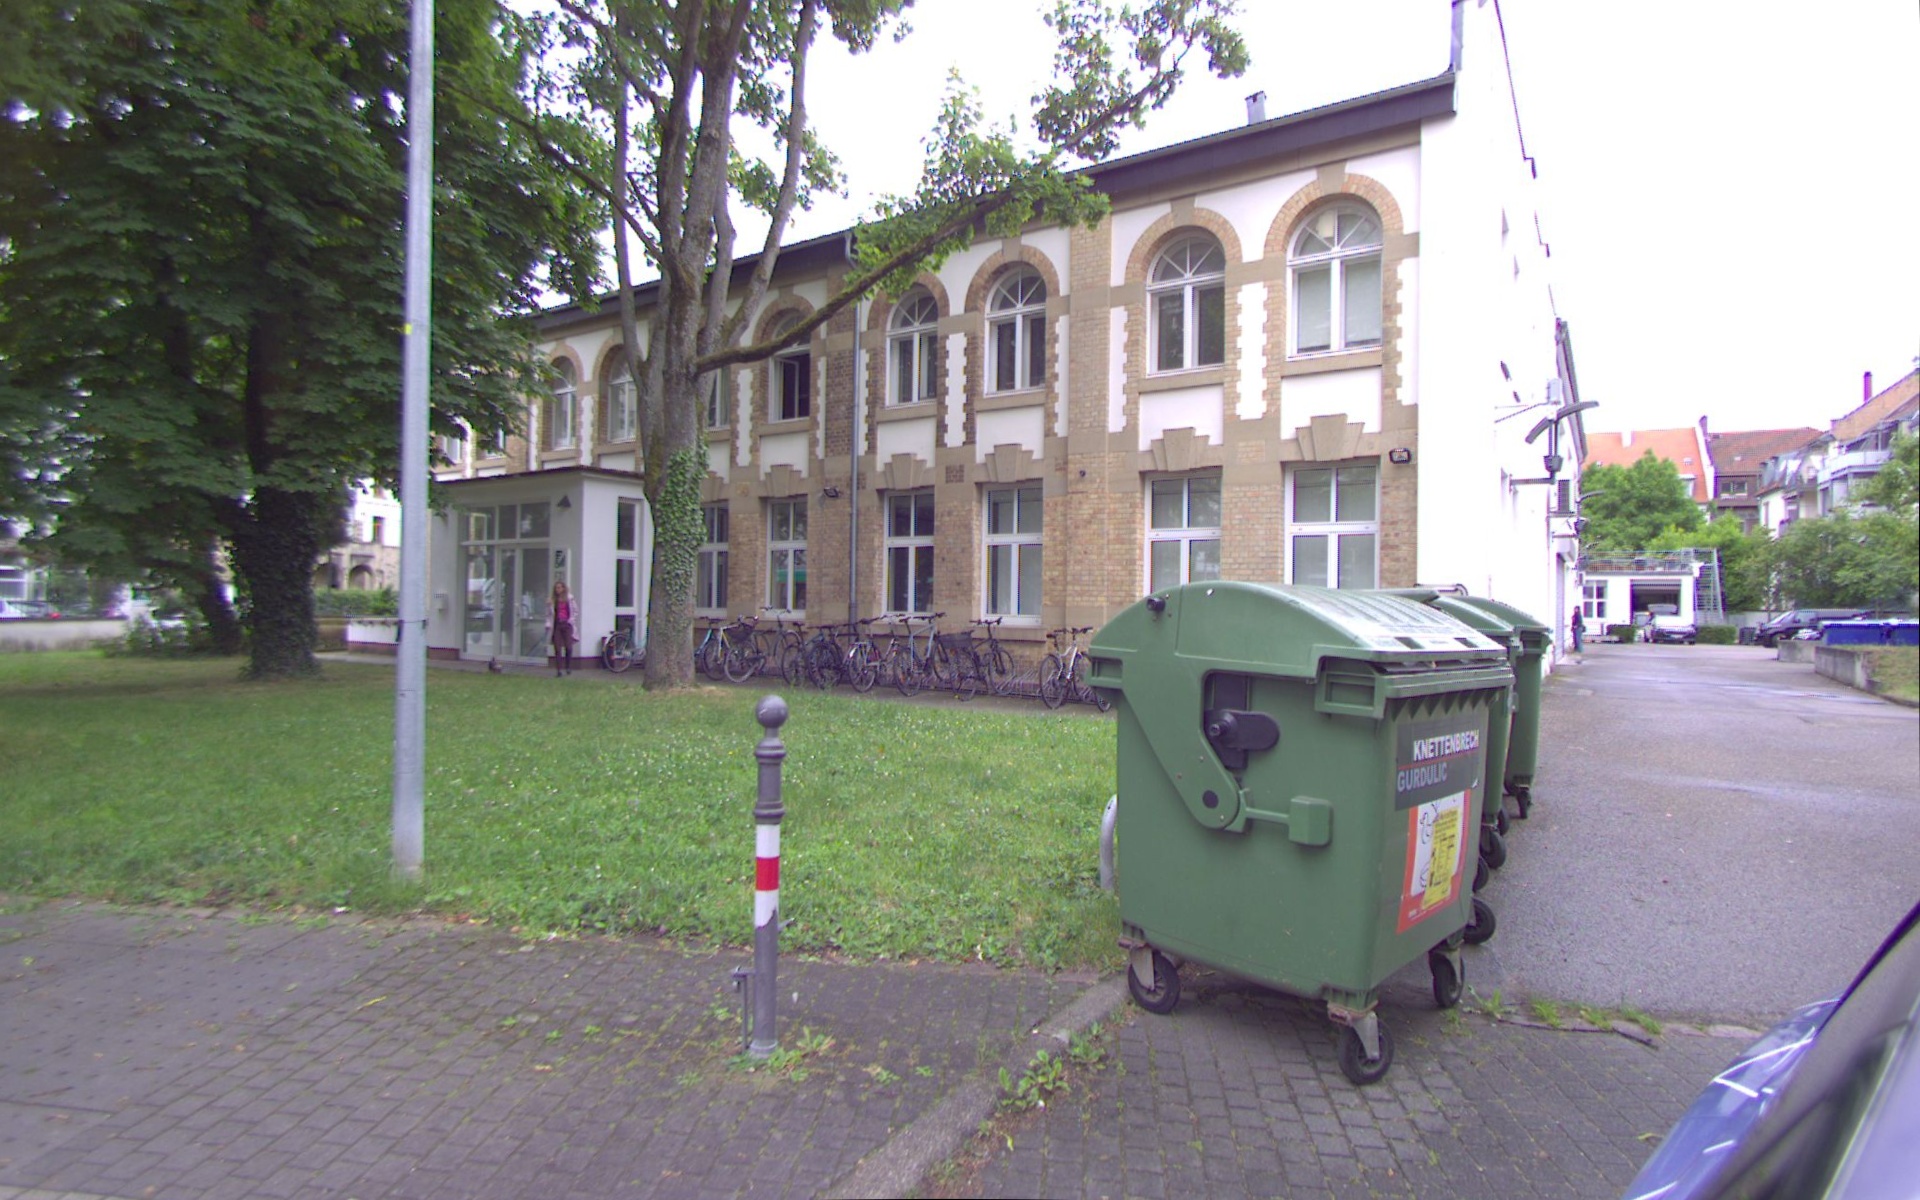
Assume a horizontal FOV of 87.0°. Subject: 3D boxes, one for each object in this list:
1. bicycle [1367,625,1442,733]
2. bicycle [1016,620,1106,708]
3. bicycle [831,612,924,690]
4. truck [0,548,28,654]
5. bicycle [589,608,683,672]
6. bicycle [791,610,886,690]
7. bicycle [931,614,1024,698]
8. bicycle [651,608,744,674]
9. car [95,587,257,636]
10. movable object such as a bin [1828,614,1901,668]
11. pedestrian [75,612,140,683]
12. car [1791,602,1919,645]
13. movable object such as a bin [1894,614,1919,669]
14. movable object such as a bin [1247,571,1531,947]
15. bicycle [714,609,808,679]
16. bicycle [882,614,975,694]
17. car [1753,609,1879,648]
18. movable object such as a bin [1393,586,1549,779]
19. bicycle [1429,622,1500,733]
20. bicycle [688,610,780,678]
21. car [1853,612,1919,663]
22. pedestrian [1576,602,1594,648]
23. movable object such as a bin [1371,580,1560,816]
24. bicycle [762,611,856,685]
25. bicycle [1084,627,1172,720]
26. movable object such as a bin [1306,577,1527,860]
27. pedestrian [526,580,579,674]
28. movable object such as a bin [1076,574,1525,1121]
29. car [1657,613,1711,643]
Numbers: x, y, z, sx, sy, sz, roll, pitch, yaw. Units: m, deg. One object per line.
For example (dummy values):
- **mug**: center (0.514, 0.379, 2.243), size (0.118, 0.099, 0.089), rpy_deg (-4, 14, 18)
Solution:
- **bicycle**: center (5.168, 0.865, 11.715), size (0.458, 1.129, 1.722), rpy_deg (0, 0, 35)
- **bicycle**: center (1.436, 0.851, 14.094), size (0.458, 1.129, 1.722), rpy_deg (0, 0, 35)
- **bicycle**: center (-1.261, 0.766, 15.820), size (0.458, 1.129, 1.722), rpy_deg (0, 0, 35)
- **truck**: center (-24.517, 0.018, 22.874), size (2.132, 2.578, 4.920), rpy_deg (0, 0, 6)
- **bicycle**: center (-6.020, 0.723, 18.892), size (0.458, 1.129, 1.722), rpy_deg (0, 0, 35)
- **bicycle**: center (-1.902, 0.760, 16.116), size (0.458, 1.128, 1.723), rpy_deg (0, 2, 35)
- **bicycle**: center (0.274, 0.782, 14.708), size (0.458, 1.129, 1.722), rpy_deg (0, 0, 35)
- **bicycle**: center (-4.711, 0.711, 18.266), size (0.458, 1.129, 1.722), rpy_deg (0, 0, 35)
- **car**: center (-23.556, 0.319, 30.587), size (1.780, 1.371, 3.806), rpy_deg (0, 0, 5)
- **movable object such as a bin**: center (22.864, 1.022, 25.615), size (1.172, 1.323, 1.213), rpy_deg (0, -1, 32)
- **pedestrian**: center (-21.228, 1.169, 25.218), size (0.793, 1.740, 0.955), rpy_deg (0, -1, 0)
- **car**: center (39.208, 0.973, 44.067), size (4.301, 1.757, 1.980), rpy_deg (1, 0, 28)
- **movable object such as a bin**: center (23.985, 1.028, 24.948), size (1.172, 1.323, 1.213), rpy_deg (0, -1, 32)
- **movable object such as a bin**: center (2.059, 0.623, 4.792), size (1.099, 1.469, 1.273), rpy_deg (0, -1, 29)
- **bicycle**: center (-3.364, 0.728, 17.258), size (0.458, 1.129, 1.722), rpy_deg (0, 0, 35)
- **bicycle**: center (-0.449, 0.783, 15.358), size (0.458, 1.129, 1.722), rpy_deg (0, 0, 35)
- **car**: center (41.479, 1.360, 49.177), size (4.301, 1.757, 1.980), rpy_deg (1, 0, 28)
- **movable object such as a bin**: center (4.315, 0.627, 8.567), size (1.099, 1.469, 1.349), rpy_deg (0, -1, 28)
- **bicycle**: center (5.687, 0.826, 11.374), size (0.458, 1.129, 1.722), rpy_deg (0, 0, 35)
- **bicycle**: center (-3.945, 0.745, 17.801), size (0.458, 1.129, 1.722), rpy_deg (0, 0, 35)
- **car**: center (34.932, 1.360, 36.050), size (4.301, 1.757, 1.980), rpy_deg (1, 0, 28)
- **pedestrian**: center (21.818, 0.875, 35.309), size (0.494, 1.582, 0.425), rpy_deg (0, -1, 29)
- **movable object such as a bin**: center (3.567, 0.611, 7.156), size (1.099, 1.469, 1.313), rpy_deg (0, -1, 28)
- **bicycle**: center (-2.451, 0.759, 16.589), size (0.458, 1.129, 1.722), rpy_deg (0, 0, 35)
- **bicycle**: center (2.291, 0.952, 13.638), size (0.458, 1.129, 1.722), rpy_deg (0, 0, 35)
- **movable object such as a bin**: center (2.766, 0.616, 6.085), size (1.099, 1.469, 1.281), rpy_deg (0, -1, 29)
- **pedestrian**: center (-7.124, 0.458, 17.681), size (0.623, 1.607, 0.597), rpy_deg (0, -1, 33)
- **movable object such as a bin**: center (1.208, 0.654, 3.520), size (1.068, 1.452, 1.255), rpy_deg (0, 0, 43)
- **car**: center (37.161, 1.411, 52.037), size (1.904, 1.416, 3.957), rpy_deg (0, 0, 30)
